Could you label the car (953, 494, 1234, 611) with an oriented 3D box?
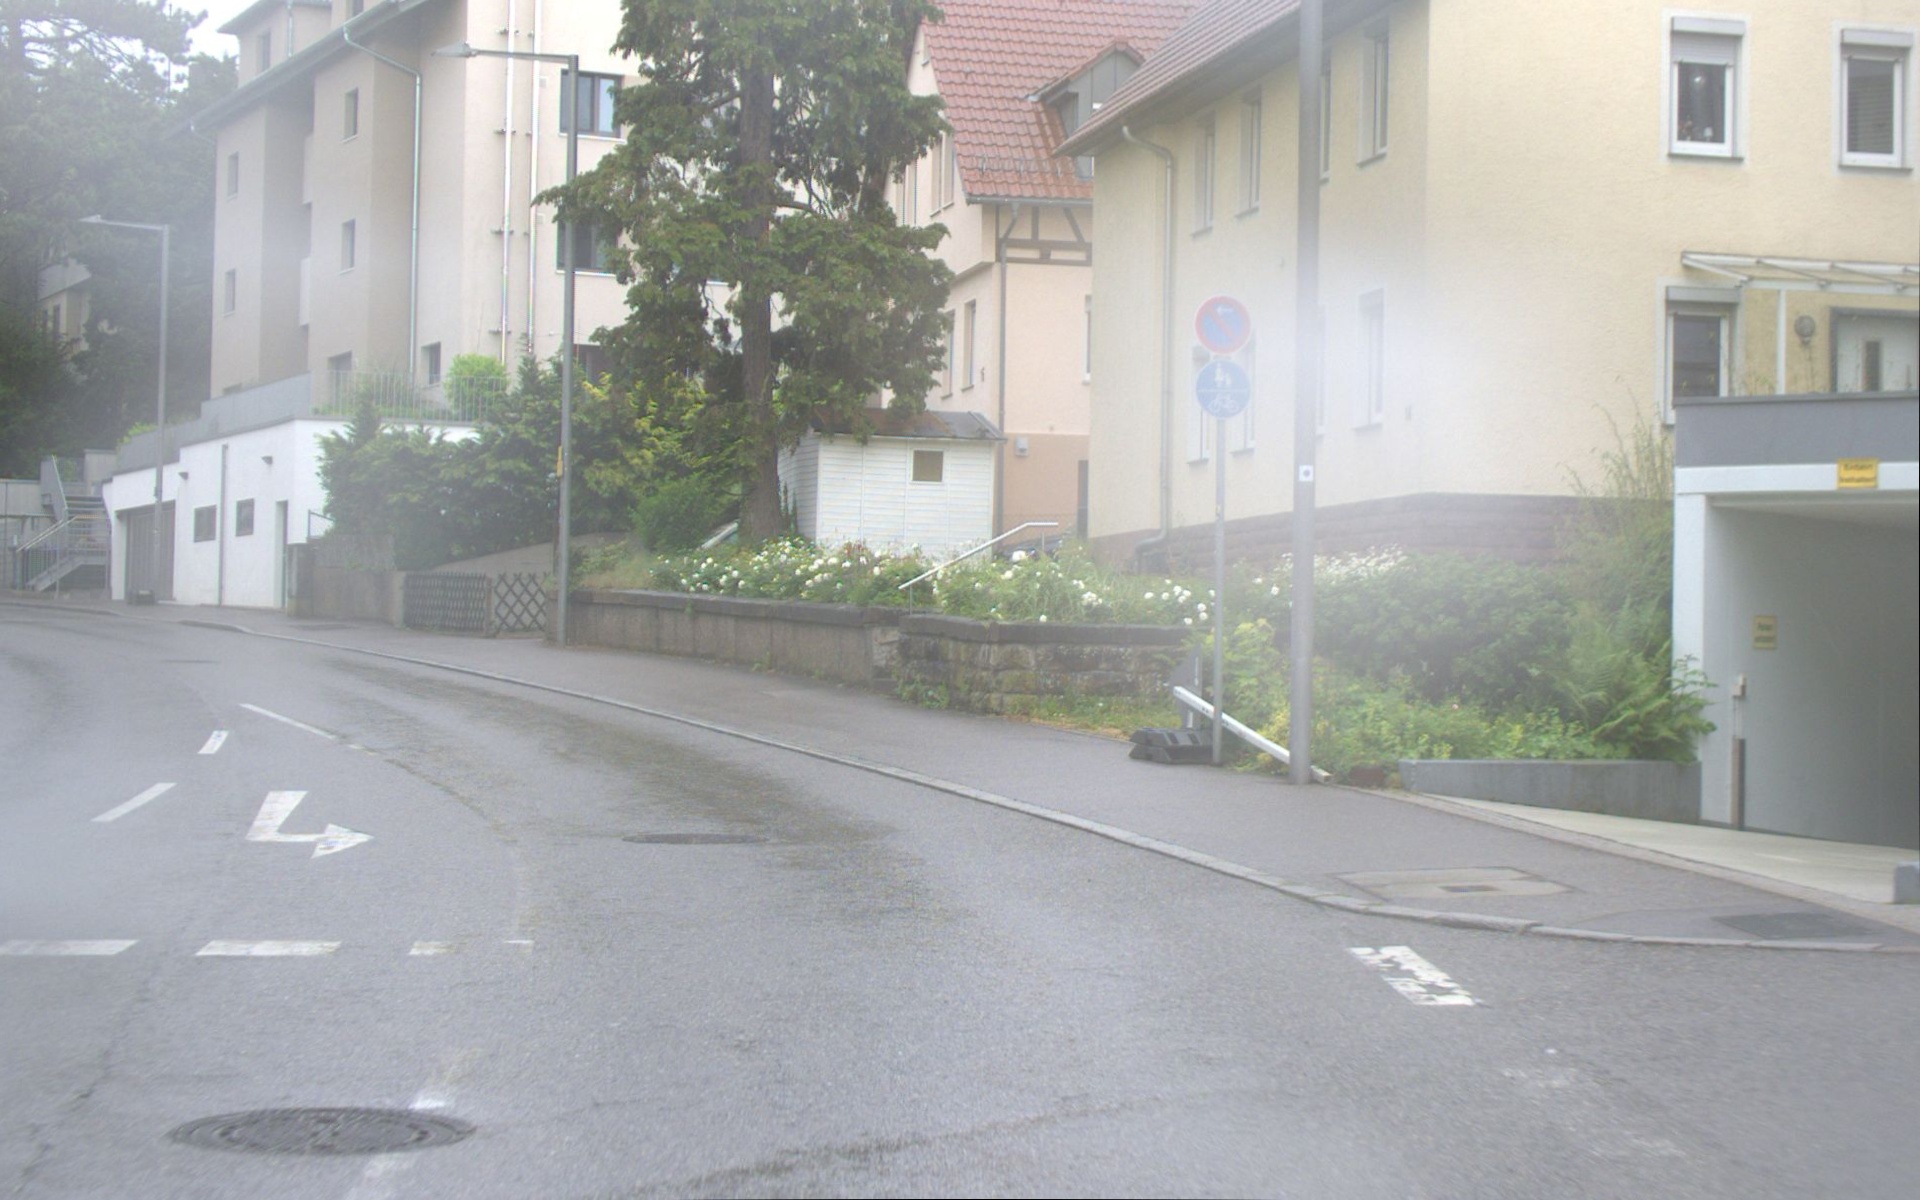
[{"bbox_3d":[2.022,-0.742,52.576,3.851,1.647,1.964,-2,2,-15],"label":"car"}]
